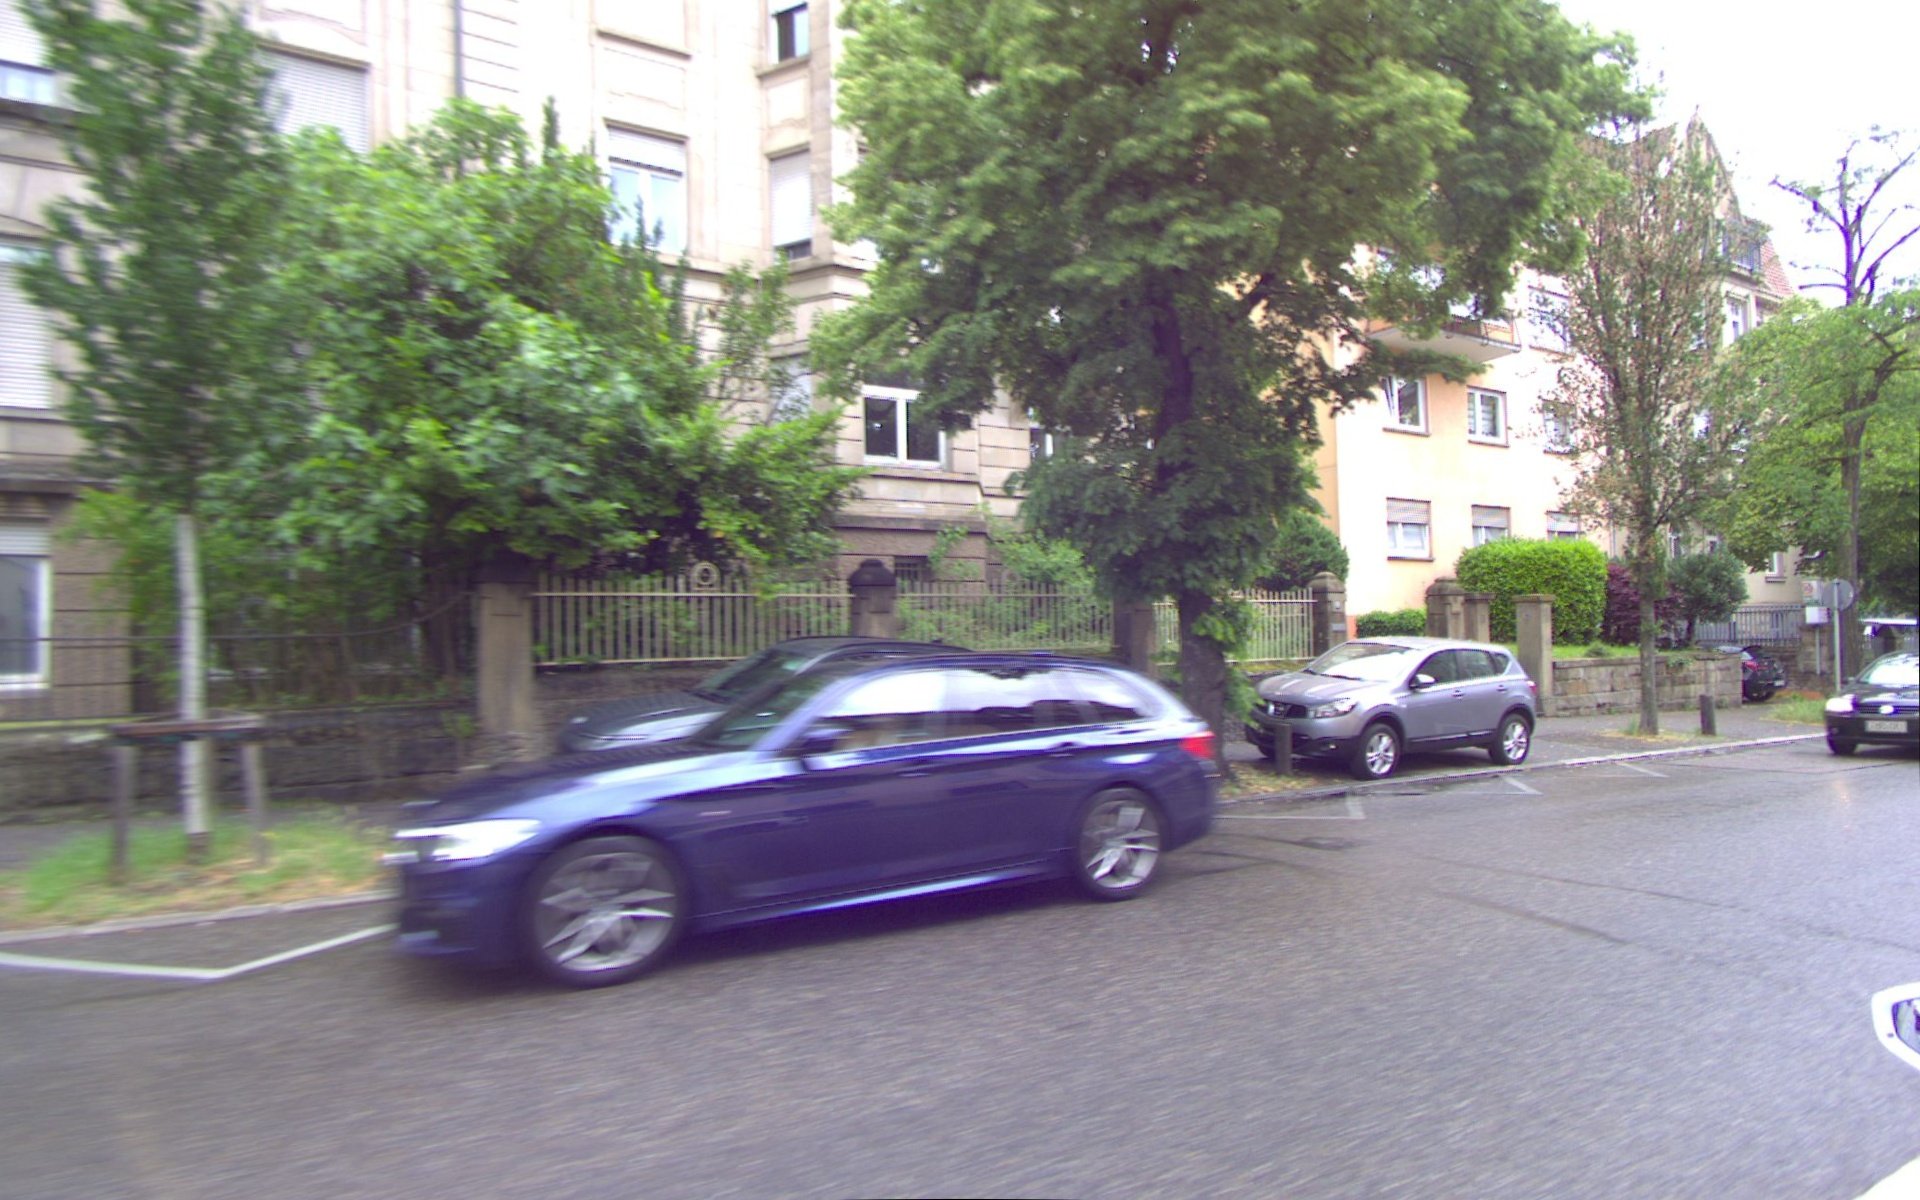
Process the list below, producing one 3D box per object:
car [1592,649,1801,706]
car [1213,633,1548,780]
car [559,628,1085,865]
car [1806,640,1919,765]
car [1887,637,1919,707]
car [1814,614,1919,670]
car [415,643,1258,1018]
[{"bbox_3d":[18.924,1.952,25.991,1.816,1.344,3.968,1,-3,-31],"label":"car"},{"bbox_3d":[5.444,1.287,12.889,4.251,1.579,1.733,3,-2,-30],"label":"car"},{"bbox_3d":[-1.106,1.134,8.884,4.257,1.580,1.731,3,-1,-33],"label":"car"},{"bbox_3d":[14.162,1.367,14.364,4.538,1.537,1.763,0,-3,-31],"label":"car"},{"bbox_3d":[23.919,1.748,23.765,4.251,1.579,1.733,3,-2,-30],"label":"car"},{"bbox_3d":[41.114,1.835,44.475,1.992,2.076,4.662,1,3,-15],"label":"car"},{"bbox_3d":[-0.545,1.047,6.013,4.694,1.486,1.764,2,-5,-31],"label":"car"}]
